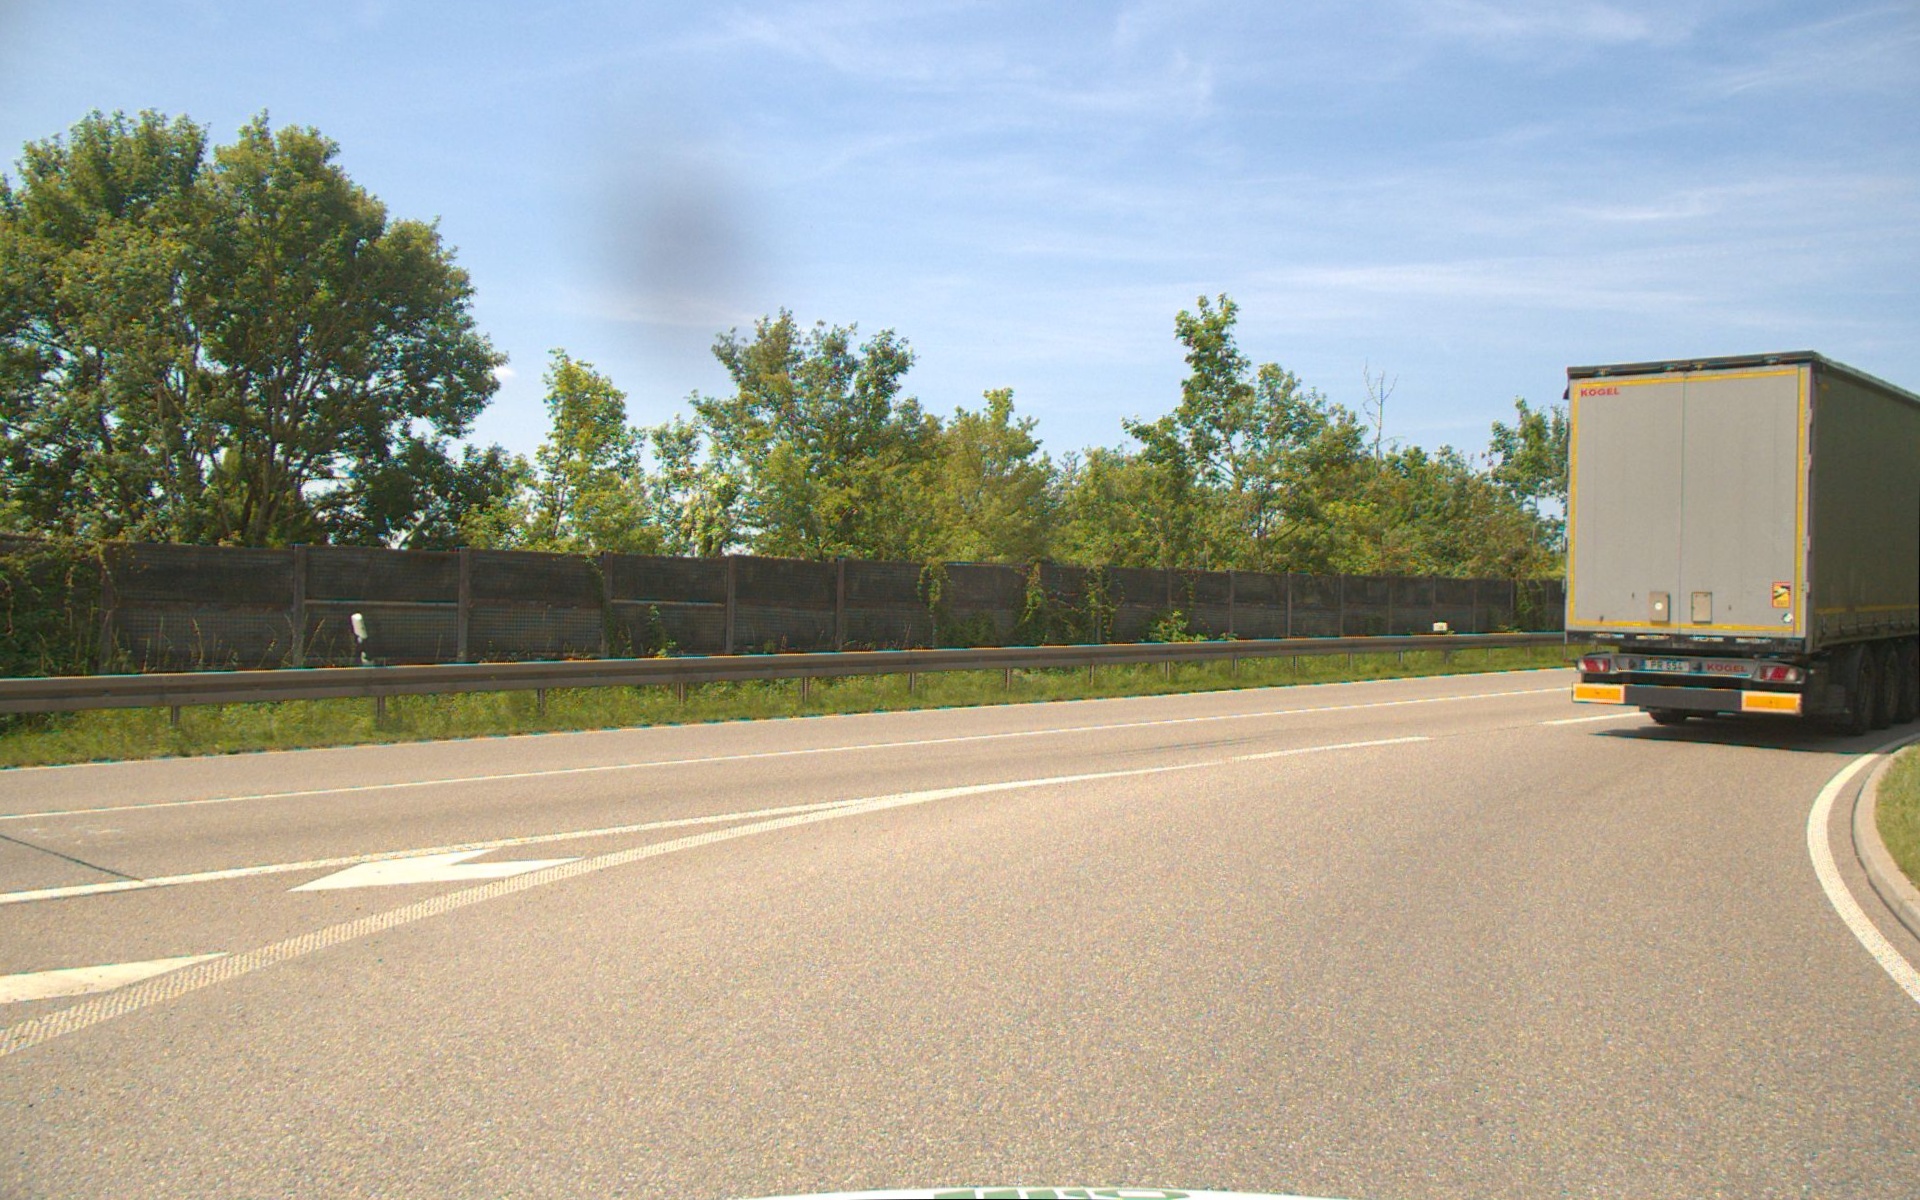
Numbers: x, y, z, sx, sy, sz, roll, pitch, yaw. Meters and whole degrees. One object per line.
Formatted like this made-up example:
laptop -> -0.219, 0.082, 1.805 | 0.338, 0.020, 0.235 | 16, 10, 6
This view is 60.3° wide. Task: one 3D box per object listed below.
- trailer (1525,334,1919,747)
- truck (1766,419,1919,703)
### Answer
trailer -> 11.691, -0.538, 22.484 | 2.981, 4.105, 13.279 | 1, 0, 40
truck -> 16.537, -0.536, 28.049 | 3.110, 4.299, 7.072 | 0, -1, 44
